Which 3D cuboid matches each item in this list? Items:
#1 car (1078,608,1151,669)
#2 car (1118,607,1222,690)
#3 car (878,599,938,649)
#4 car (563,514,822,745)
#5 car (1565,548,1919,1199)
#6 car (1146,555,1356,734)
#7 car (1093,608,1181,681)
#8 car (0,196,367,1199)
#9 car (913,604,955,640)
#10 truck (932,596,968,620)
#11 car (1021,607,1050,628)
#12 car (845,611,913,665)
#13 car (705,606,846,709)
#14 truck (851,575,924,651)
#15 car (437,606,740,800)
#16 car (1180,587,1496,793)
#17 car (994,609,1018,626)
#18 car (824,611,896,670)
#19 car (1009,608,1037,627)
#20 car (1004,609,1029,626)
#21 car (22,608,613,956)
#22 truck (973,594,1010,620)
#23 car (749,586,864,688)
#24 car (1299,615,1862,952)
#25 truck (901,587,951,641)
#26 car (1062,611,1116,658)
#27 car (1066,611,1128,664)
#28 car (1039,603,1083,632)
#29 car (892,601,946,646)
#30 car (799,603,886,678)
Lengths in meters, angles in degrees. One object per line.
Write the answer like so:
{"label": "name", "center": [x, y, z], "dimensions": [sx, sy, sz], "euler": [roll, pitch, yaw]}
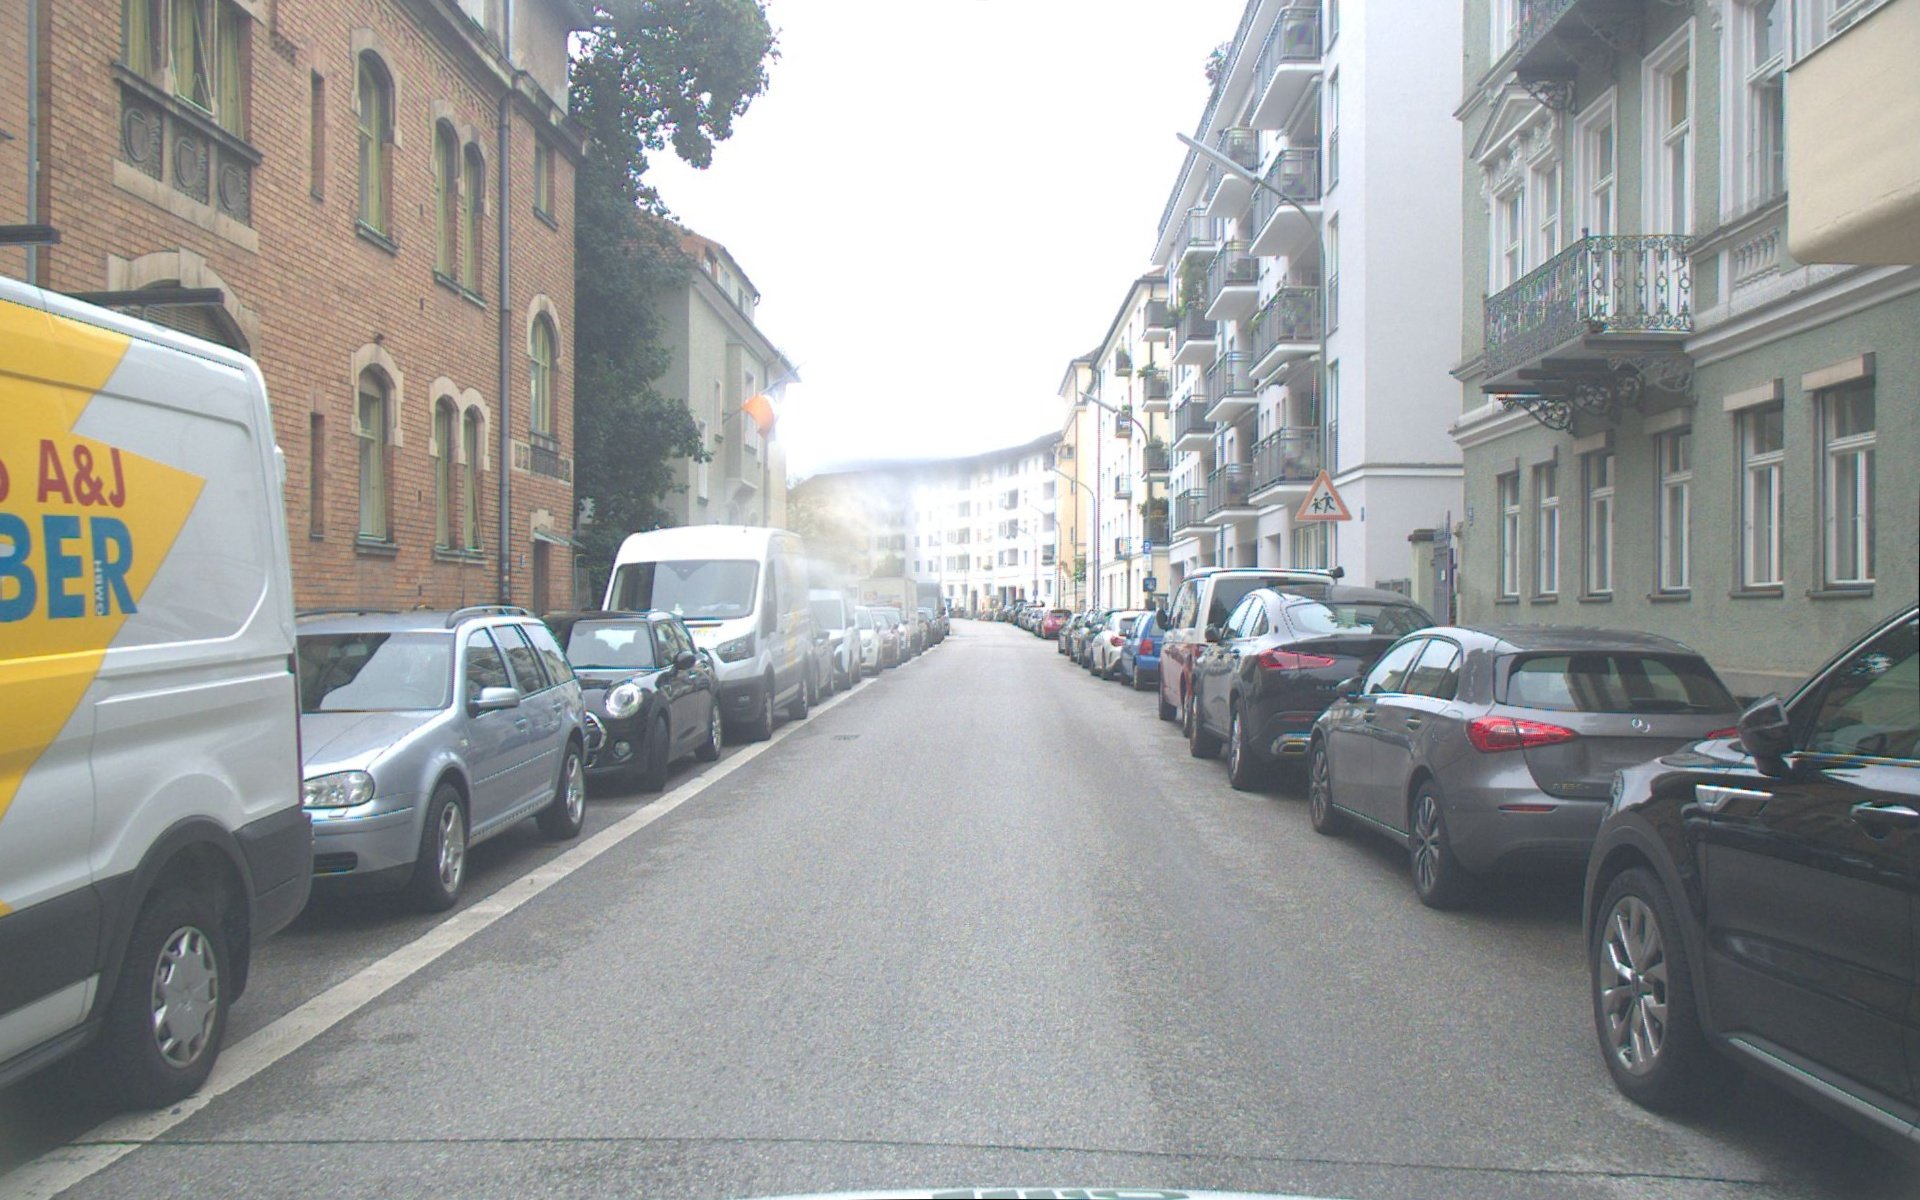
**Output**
{"label": "car", "center": [3.849, 0.944, 41.654], "dimensions": [1.614, 1.459, 4.001], "euler": [0, -1, 2]}
{"label": "car", "center": [3.901, 0.879, 31.180], "dimensions": [1.575, 1.459, 3.620], "euler": [0, -1, 1]}
{"label": "car", "center": [-1.907, 0.898, 62.231], "dimensions": [1.952, 1.793, 4.382], "euler": [0, -1, 2]}
{"label": "car", "center": [-3.013, 0.338, 19.904], "dimensions": [2.093, 2.390, 5.370], "euler": [0, -1, 1]}
{"label": "car", "center": [3.026, 0.712, 3.571], "dimensions": [1.812, 1.667, 4.550], "euler": [0, -1, 1]}
{"label": "car", "center": [3.538, 0.523, 20.966], "dimensions": [1.831, 2.002, 4.816], "euler": [0, -1, 0]}
{"label": "car", "center": [3.737, 0.920, 35.506], "dimensions": [1.614, 1.459, 4.001], "euler": [0, -1, 2]}
{"label": "car", "center": [-3.300, 0.292, 3.491], "dimensions": [1.951, 2.511, 5.472], "euler": [-2, -1, 1]}
{"label": "car", "center": [-1.348, 1.153, 86.931], "dimensions": [1.952, 1.793, 4.382], "euler": [0, -1, 2]}
{"label": "truck", "center": [-1.028, 0.820, 171.278], "dimensions": [2.577, 2.340, 5.421], "euler": [1, 0, -14]}
{"label": "car", "center": [5.310, 1.219, 116.608], "dimensions": [1.747, 1.409, 3.998], "euler": [0, 0, -3]}
{"label": "car", "center": [-2.285, 1.062, 47.415], "dimensions": [1.759, 1.494, 3.866], "euler": [0, -1, 0]}
{"label": "car", "center": [-2.795, 0.848, 25.865], "dimensions": [1.708, 1.470, 4.000], "euler": [0, -1, 1]}
{"label": "truck", "center": [-2.325, 0.426, 54.354], "dimensions": [1.952, 2.359, 5.411], "euler": [0, -1, 2]}
{"label": "car", "center": [-3.117, 0.810, 14.631], "dimensions": [1.663, 1.456, 3.831], "euler": [-1, -1, 2]}
{"label": "car", "center": [3.236, 0.720, 15.152], "dimensions": [1.821, 1.578, 4.753], "euler": [0, -1, 0]}
{"label": "car", "center": [3.957, 1.500, 142.581], "dimensions": [1.747, 1.409, 3.998], "euler": [0, 0, -3]}
{"label": "car", "center": [-2.491, 0.989, 41.706], "dimensions": [1.716, 1.392, 3.998], "euler": [0, -1, -3]}
{"label": "car", "center": [4.750, 1.312, 125.184], "dimensions": [1.747, 1.409, 3.998], "euler": [0, 0, -3]}
{"label": "car", "center": [4.605, 1.429, 136.245], "dimensions": [1.747, 1.409, 3.998], "euler": [0, 0, -3]}
{"label": "car", "center": [-3.280, 0.821, 9.355], "dimensions": [1.654, 1.480, 3.997], "euler": [-2, 0, 1]}
{"label": "truck", "center": [2.831, 0.603, 150.232], "dimensions": [2.187, 2.340, 5.273], "euler": [0, 0, -13]}
{"label": "car", "center": [-2.753, 0.652, 30.347], "dimensions": [1.784, 1.741, 3.999], "euler": [0, -1, -1]}
{"label": "car", "center": [3.278, 0.854, 9.739], "dimensions": [1.692, 1.485, 4.416], "euler": [1, 0, 1]}
{"label": "truck", "center": [-1.523, 0.641, 75.410], "dimensions": [1.952, 2.359, 5.411], "euler": [0, -1, 2]}
{"label": "car", "center": [4.179, 1.111, 53.992], "dimensions": [1.614, 1.459, 4.285], "euler": [0, -1, 2]}
{"label": "car", "center": [3.903, 1.045, 47.587], "dimensions": [1.614, 1.459, 4.001], "euler": [0, -1, 2]}
{"label": "car", "center": [4.923, 0.852, 81.335], "dimensions": [1.747, 1.409, 3.998], "euler": [0, 0, -3]}
{"label": "car", "center": [-1.664, 0.966, 68.818], "dimensions": [1.952, 1.793, 4.382], "euler": [0, -1, 2]}
{"label": "car", "center": [-2.573, 0.870, 36.981], "dimensions": [1.809, 1.567, 3.998], "euler": [0, -1, -3]}
